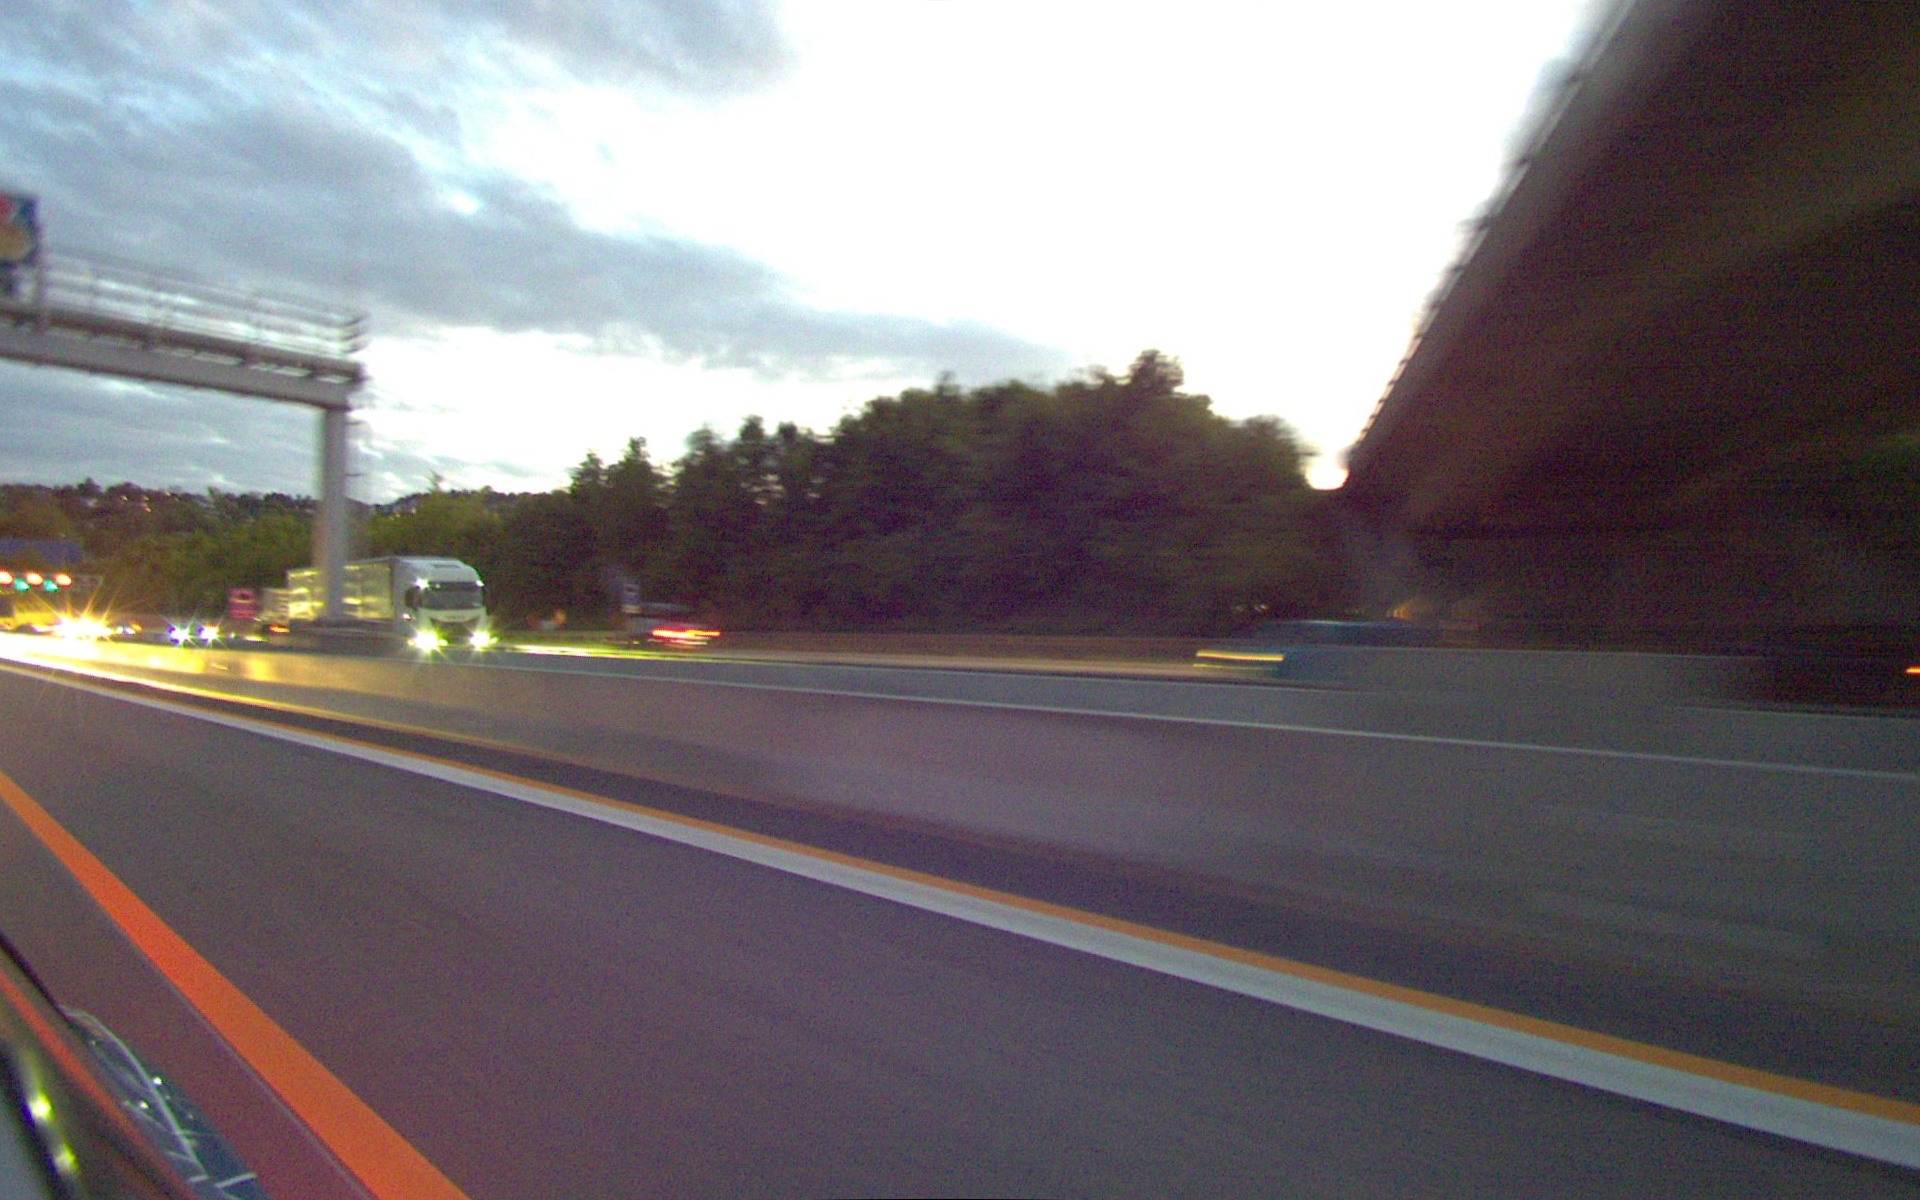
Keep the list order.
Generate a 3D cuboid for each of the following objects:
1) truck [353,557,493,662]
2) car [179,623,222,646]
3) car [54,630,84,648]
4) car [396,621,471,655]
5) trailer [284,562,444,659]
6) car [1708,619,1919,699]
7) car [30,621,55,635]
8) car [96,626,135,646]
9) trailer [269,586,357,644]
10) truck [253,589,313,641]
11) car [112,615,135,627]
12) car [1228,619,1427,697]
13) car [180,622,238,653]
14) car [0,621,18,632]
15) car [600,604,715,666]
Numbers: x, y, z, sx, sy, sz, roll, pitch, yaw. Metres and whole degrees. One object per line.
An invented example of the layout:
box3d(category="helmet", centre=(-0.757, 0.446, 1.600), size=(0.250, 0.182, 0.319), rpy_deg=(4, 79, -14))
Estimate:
box3d(category="truck", centre=(-21.062, 0.352, 39.583), size=(6.300, 3.803, 2.773), rpy_deg=(-1, 0, 42))
box3d(category="car", centre=(-60.831, 2.735, 81.059), size=(4.515, 1.688, 1.972), rpy_deg=(-1, 1, 43))
box3d(category="car", centre=(-80.796, 3.496, 91.757), size=(3.822, 1.492, 1.490), rpy_deg=(-1, 1, 40))
box3d(category="car", centre=(-28.257, 2.004, 54.271), size=(4.580, 1.686, 1.973), rpy_deg=(-1, 1, 41))
box3d(category="trailer", centre=(-26.540, 0.436, 44.636), size=(11.835, 3.811, 2.768), rpy_deg=(-1, 1, 43))
box3d(category="car", centre=(16.007, 1.020, 18.188), size=(3.997, 1.333, 1.973), rpy_deg=(-1, -2, 40))
box3d(category="car", centre=(-114.184, 3.512, 125.908), size=(4.889, 1.650, 1.719), rpy_deg=(-1, 1, 41))
box3d(category="car", centre=(-69.427, 2.965, 83.187), size=(3.997, 1.492, 1.769), rpy_deg=(-1, 1, 40))
box3d(category="trailer", centre=(-51.251, 1.178, 79.976), size=(12.401, 4.237, 2.749), rpy_deg=(-1, 0, 43))
box3d(category="truck", centre=(-57.267, 1.268, 85.560), size=(6.385, 4.202, 2.747), rpy_deg=(-1, 0, 43))
box3d(category="car", centre=(-121.281, 3.050, 146.699), size=(4.749, 1.650, 1.785), rpy_deg=(-1, 1, 41))
box3d(category="car", centre=(7.528, 1.134, 20.904), size=(3.519, 1.417, 1.610), rpy_deg=(-1, 1, 42))
box3d(category="car", centre=(-49.761, 2.426, 66.993), size=(4.697, 1.898, 2.069), rpy_deg=(-1, 1, 40))
box3d(category="car", centre=(-141.217, 3.910, 150.076), size=(4.749, 1.650, 1.785), rpy_deg=(-1, 1, 41))
box3d(category="car", centre=(-11.762, 1.304, 39.184), size=(4.799, 2.206, 1.973), rpy_deg=(-1, 1, 41))
